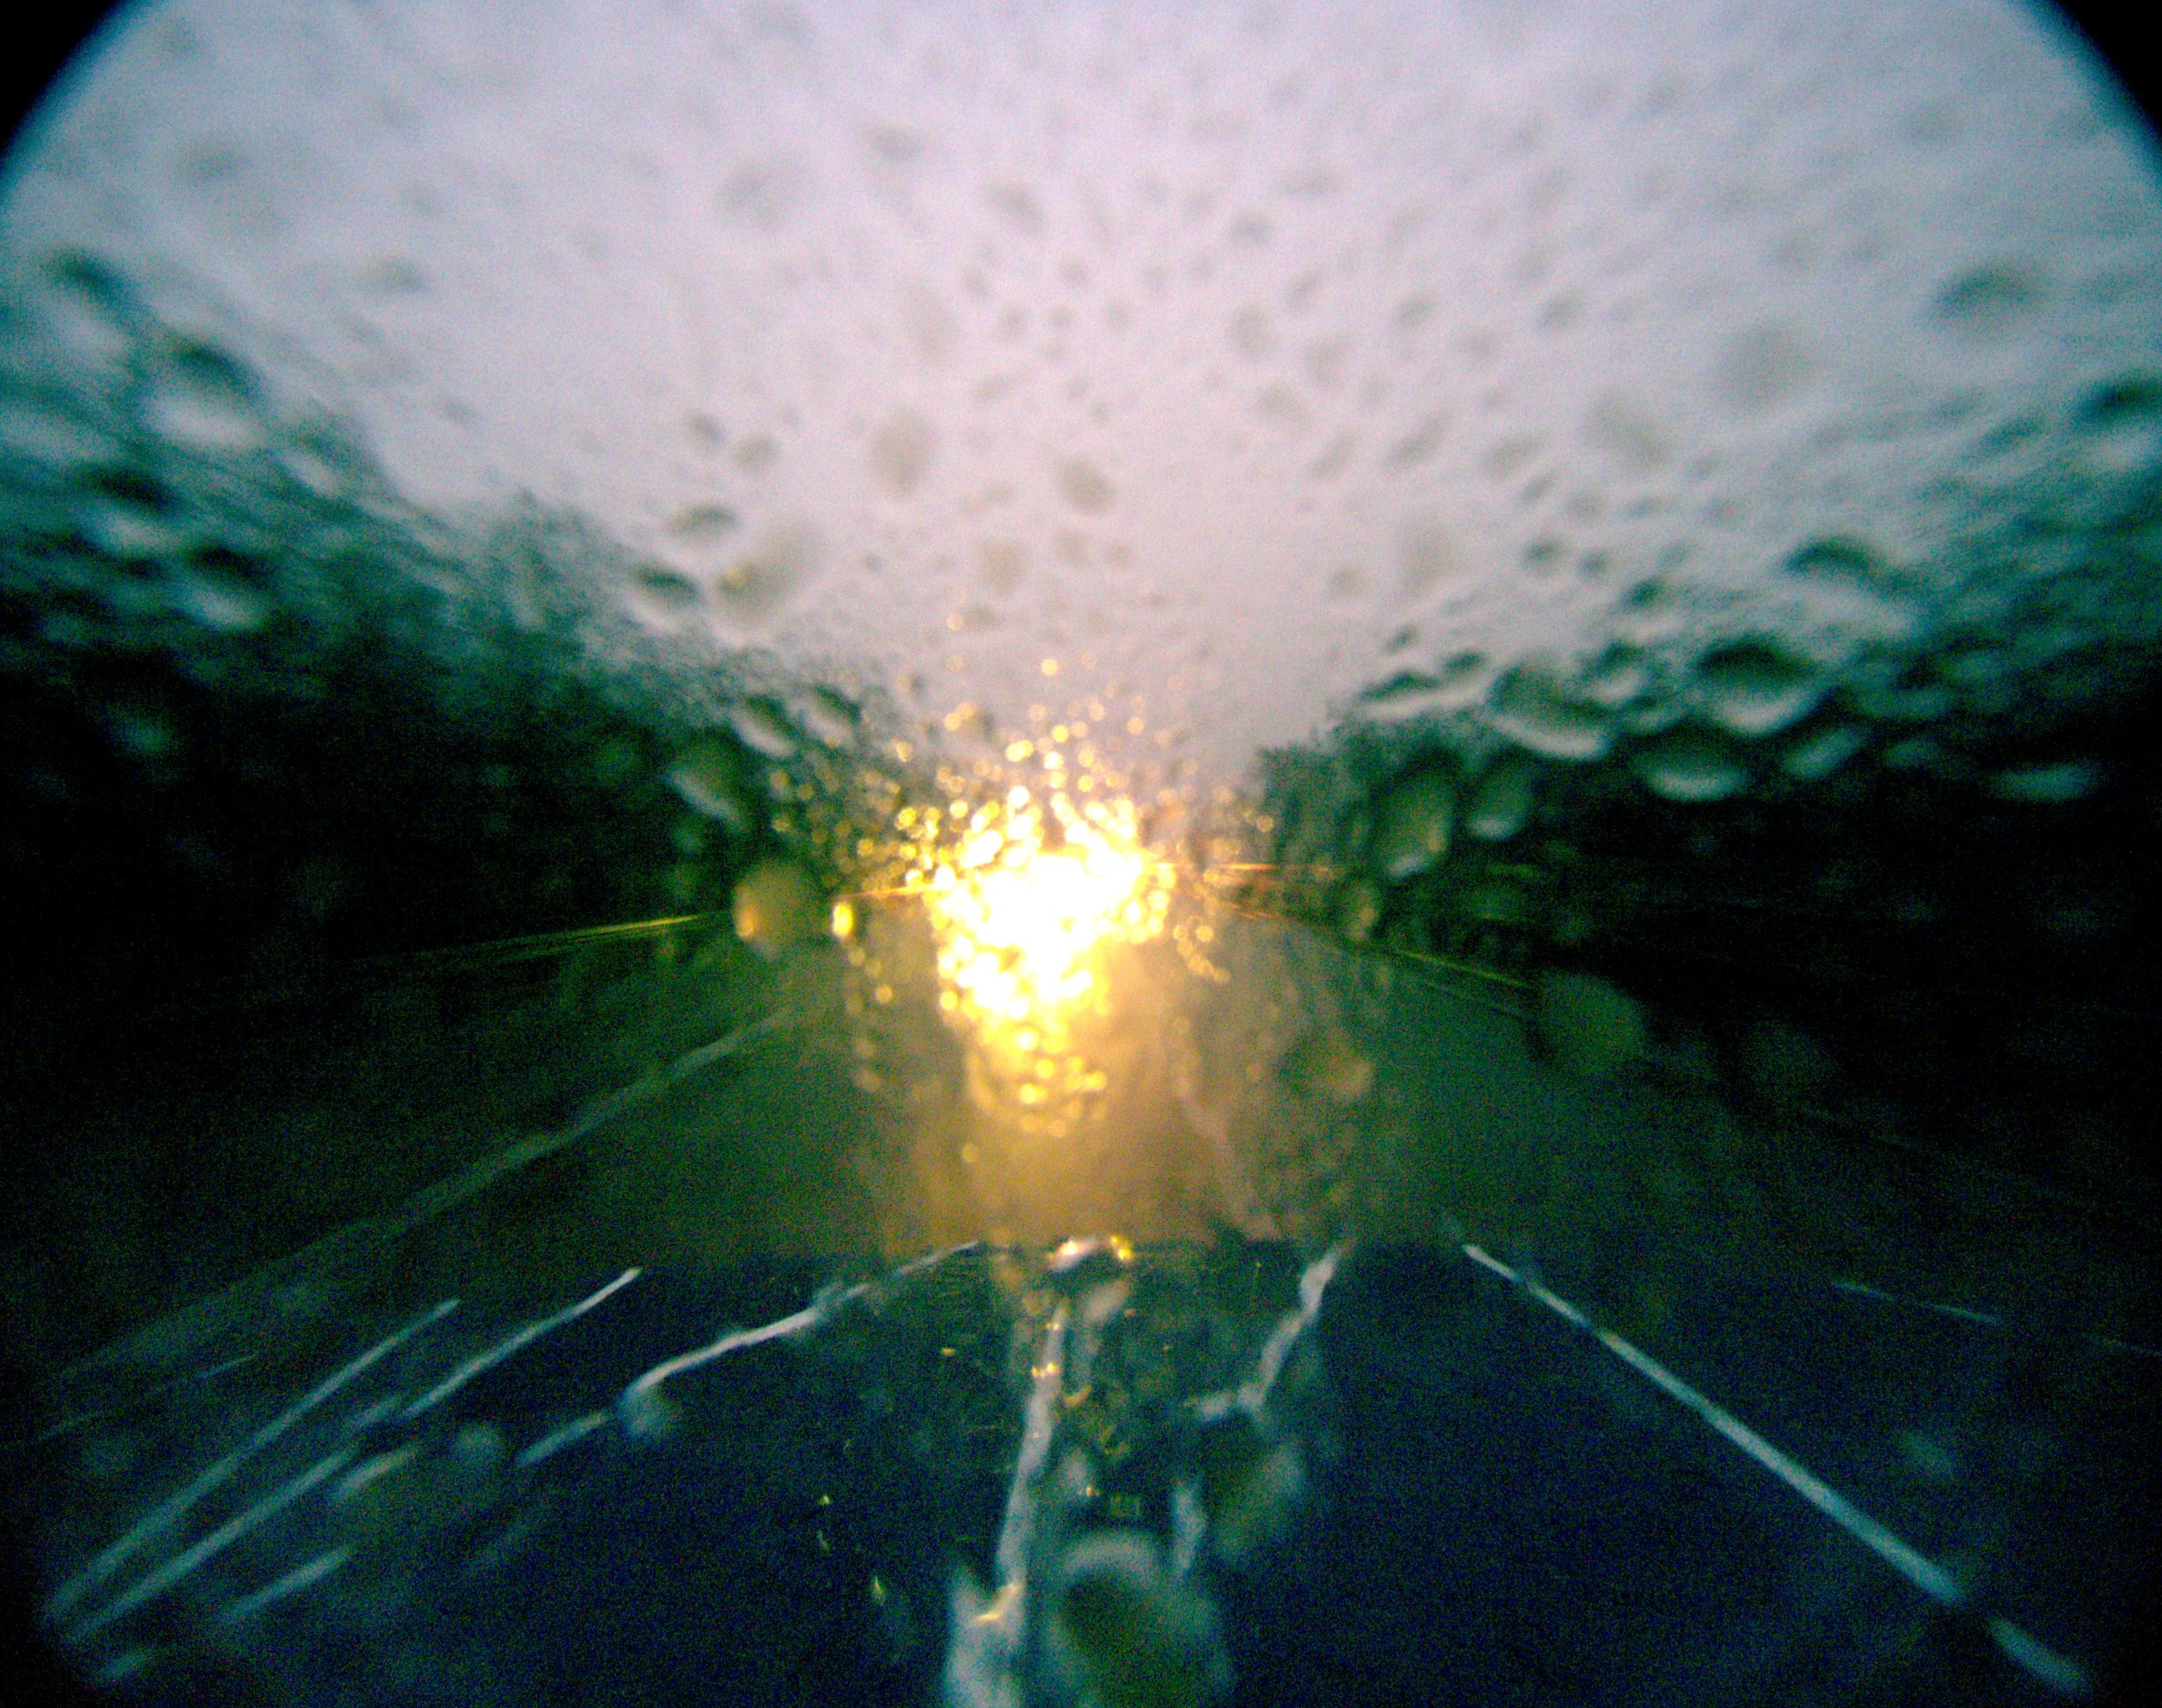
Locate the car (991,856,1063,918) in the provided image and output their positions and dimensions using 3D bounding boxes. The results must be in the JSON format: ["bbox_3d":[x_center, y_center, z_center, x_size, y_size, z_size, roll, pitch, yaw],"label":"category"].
[{"bbox_3d":[-1.680,1.006,24.878,1.929,1.781,3.941,-2,0,1],"label":"car"}]

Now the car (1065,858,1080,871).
[{"bbox_3d":[-1.061,1.318,96.918,1.741,1.441,4.000,-2,0,0],"label":"car"}]

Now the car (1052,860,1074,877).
[{"bbox_3d":[-1.530,1.226,65.836,1.603,1.357,3.306,-3,0,3],"label":"car"}]
